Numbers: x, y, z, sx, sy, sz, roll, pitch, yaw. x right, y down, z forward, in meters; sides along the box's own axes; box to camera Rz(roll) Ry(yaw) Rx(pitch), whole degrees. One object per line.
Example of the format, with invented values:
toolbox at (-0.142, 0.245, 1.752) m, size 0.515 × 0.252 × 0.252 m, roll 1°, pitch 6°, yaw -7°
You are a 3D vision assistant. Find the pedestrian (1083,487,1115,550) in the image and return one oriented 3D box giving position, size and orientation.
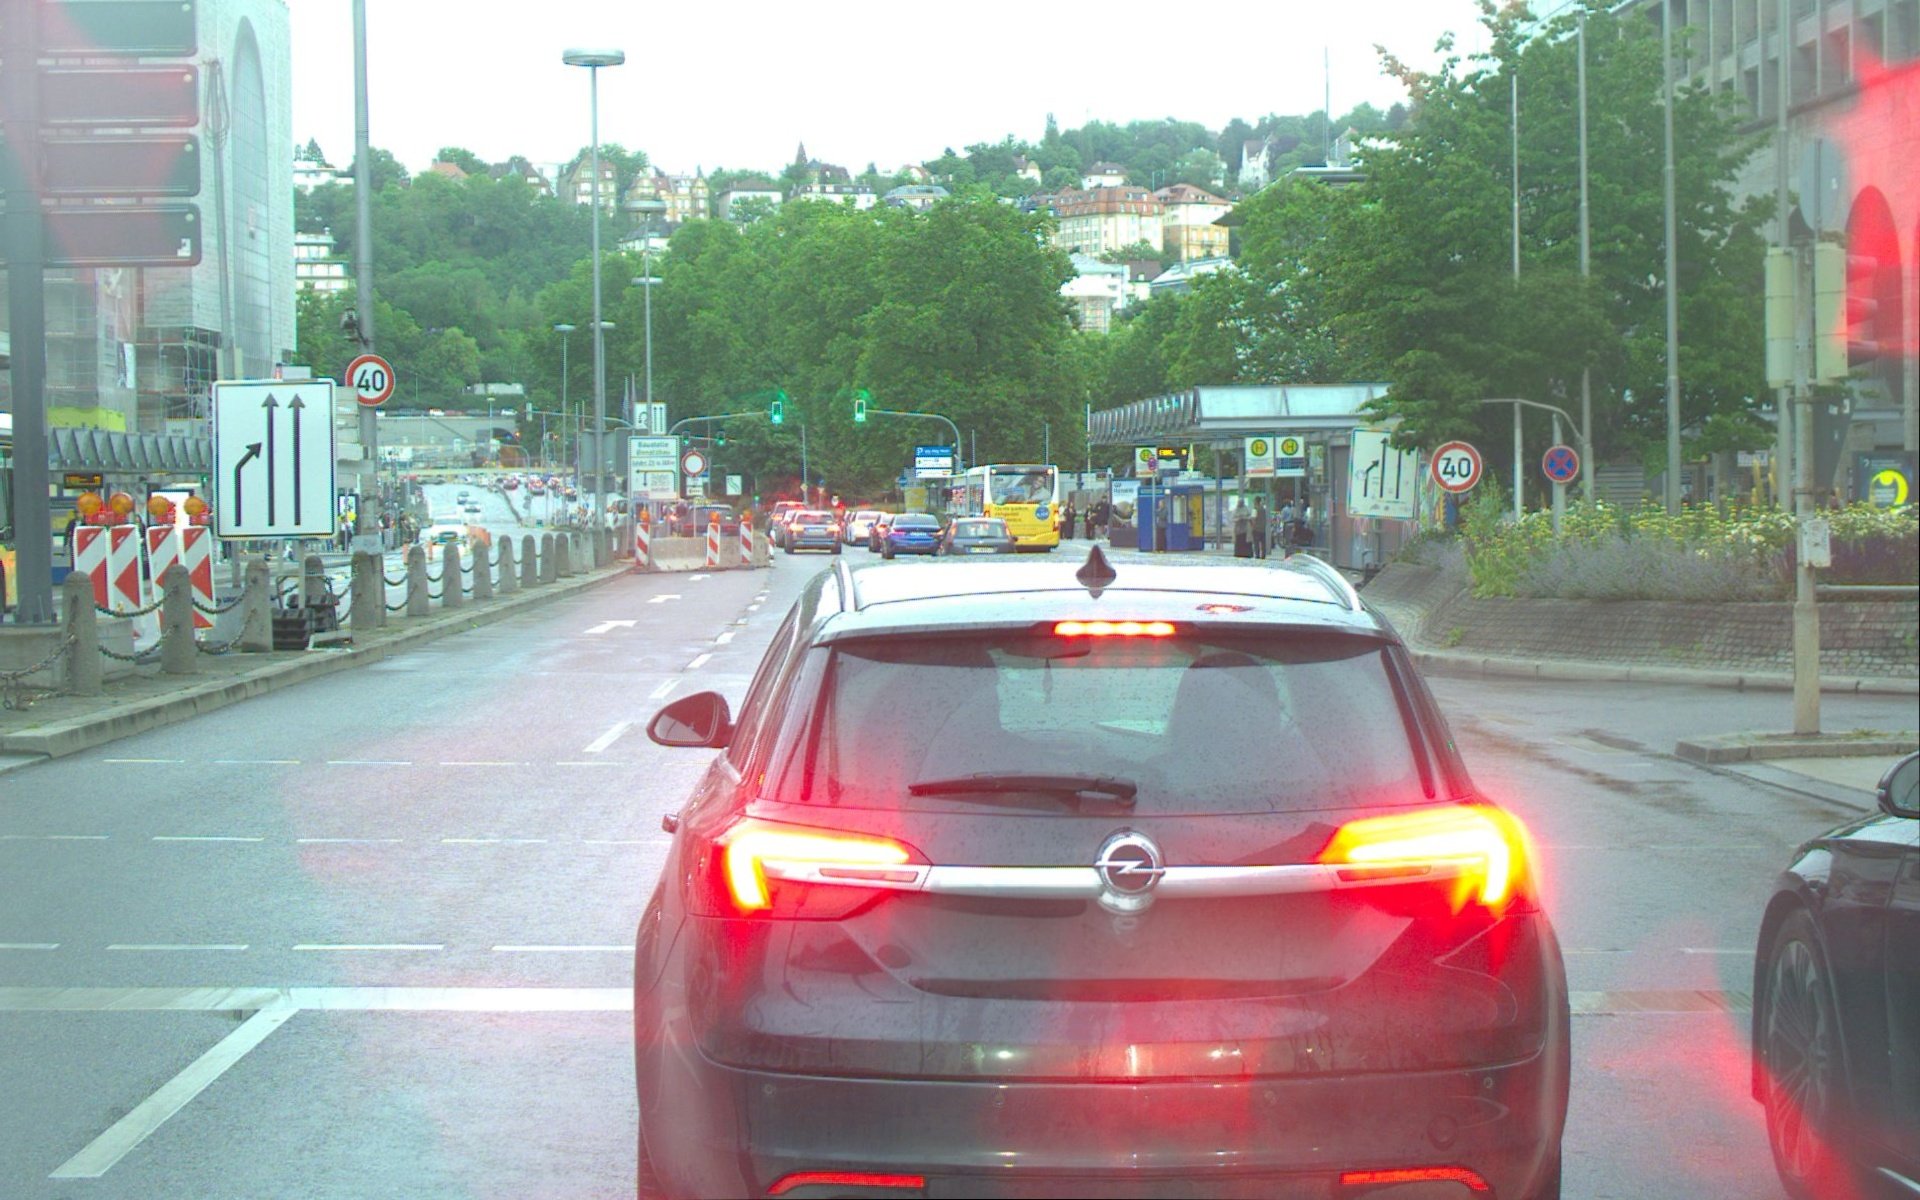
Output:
pedestrian at (5.374, -3.146, 132.957) m, size 1.199 × 2.427 × 1.228 m, roll 1°, pitch 1°, yaw 1°

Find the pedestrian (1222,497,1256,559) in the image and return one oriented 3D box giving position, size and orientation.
pedestrian at (7.736, -1.997, 95.346) m, size 0.763 × 1.684 × 0.825 m, roll 1°, pitch 1°, yaw -5°

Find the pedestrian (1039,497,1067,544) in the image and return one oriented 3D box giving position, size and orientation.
pedestrian at (4.245, -3.631, 157.201) m, size 1.199 × 2.141 × 1.228 m, roll 1°, pitch 1°, yaw 1°

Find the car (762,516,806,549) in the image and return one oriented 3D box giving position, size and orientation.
car at (-7.675, -2.949, 149.954) m, size 1.759 × 1.393 × 3.564 m, roll 1°, pitch 1°, yaw -1°

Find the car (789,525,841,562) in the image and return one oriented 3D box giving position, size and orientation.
car at (-5.602, -2.182, 133.133) m, size 1.845 × 1.393 × 3.564 m, roll 1°, pitch 1°, yaw -1°

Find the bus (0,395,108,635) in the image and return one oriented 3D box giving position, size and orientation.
bus at (-15.726, -1.315, 53.076) m, size 2.668 × 3.589 × 10.212 m, roll 1°, pitch 1°, yaw -1°

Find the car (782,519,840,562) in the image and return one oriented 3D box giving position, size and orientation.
car at (-5.035, -2.009, 116.787) m, size 1.845 × 1.393 × 3.564 m, roll 1°, pitch 1°, yaw -1°

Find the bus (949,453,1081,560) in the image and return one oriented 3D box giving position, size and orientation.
bus at (1.788, -3.194, 120.867) m, size 4.173 × 3.457 × 14.655 m, roll 1°, pitch 1°, yaw -1°

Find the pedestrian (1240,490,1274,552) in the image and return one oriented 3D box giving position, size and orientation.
pedestrian at (8.136, -2.153, 94.245) m, size 0.763 × 1.684 × 0.825 m, roll 1°, pitch 1°, yaw -5°

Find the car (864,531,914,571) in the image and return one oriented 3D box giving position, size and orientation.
car at (-2.565, -1.744, 123.258) m, size 1.753 × 1.393 × 4.402 m, roll 1°, pitch 1°, yaw -2°

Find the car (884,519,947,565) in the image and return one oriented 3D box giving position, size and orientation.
car at (-1.396, -1.793, 106.913) m, size 1.753 × 1.393 × 4.649 m, roll 1°, pitch 1°, yaw -3°

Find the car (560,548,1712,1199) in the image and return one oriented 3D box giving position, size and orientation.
car at (0.248, 0.642, 7.639) m, size 1.874 × 1.481 × 4.000 m, roll 1°, pitch 1°, yaw -1°

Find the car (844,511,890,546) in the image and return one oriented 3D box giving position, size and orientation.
car at (-3.831, -2.945, 141.810) m, size 1.845 × 1.393 × 3.564 m, roll 1°, pitch 1°, yaw -1°

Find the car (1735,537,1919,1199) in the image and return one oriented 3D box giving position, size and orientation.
car at (2.717, 0.652, 5.745) m, size 1.793 × 1.496 × 4.629 m, roll 1°, pitch 1°, yaw 0°

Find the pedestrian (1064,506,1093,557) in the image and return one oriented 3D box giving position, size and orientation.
pedestrian at (5.036, -2.905, 146.341) m, size 1.199 × 2.141 × 1.228 m, roll 1°, pitch 1°, yaw 1°

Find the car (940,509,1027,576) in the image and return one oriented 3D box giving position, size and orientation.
car at (0.492, -1.259, 75.720) m, size 1.845 × 1.393 × 3.667 m, roll 1°, pitch 1°, yaw -1°
